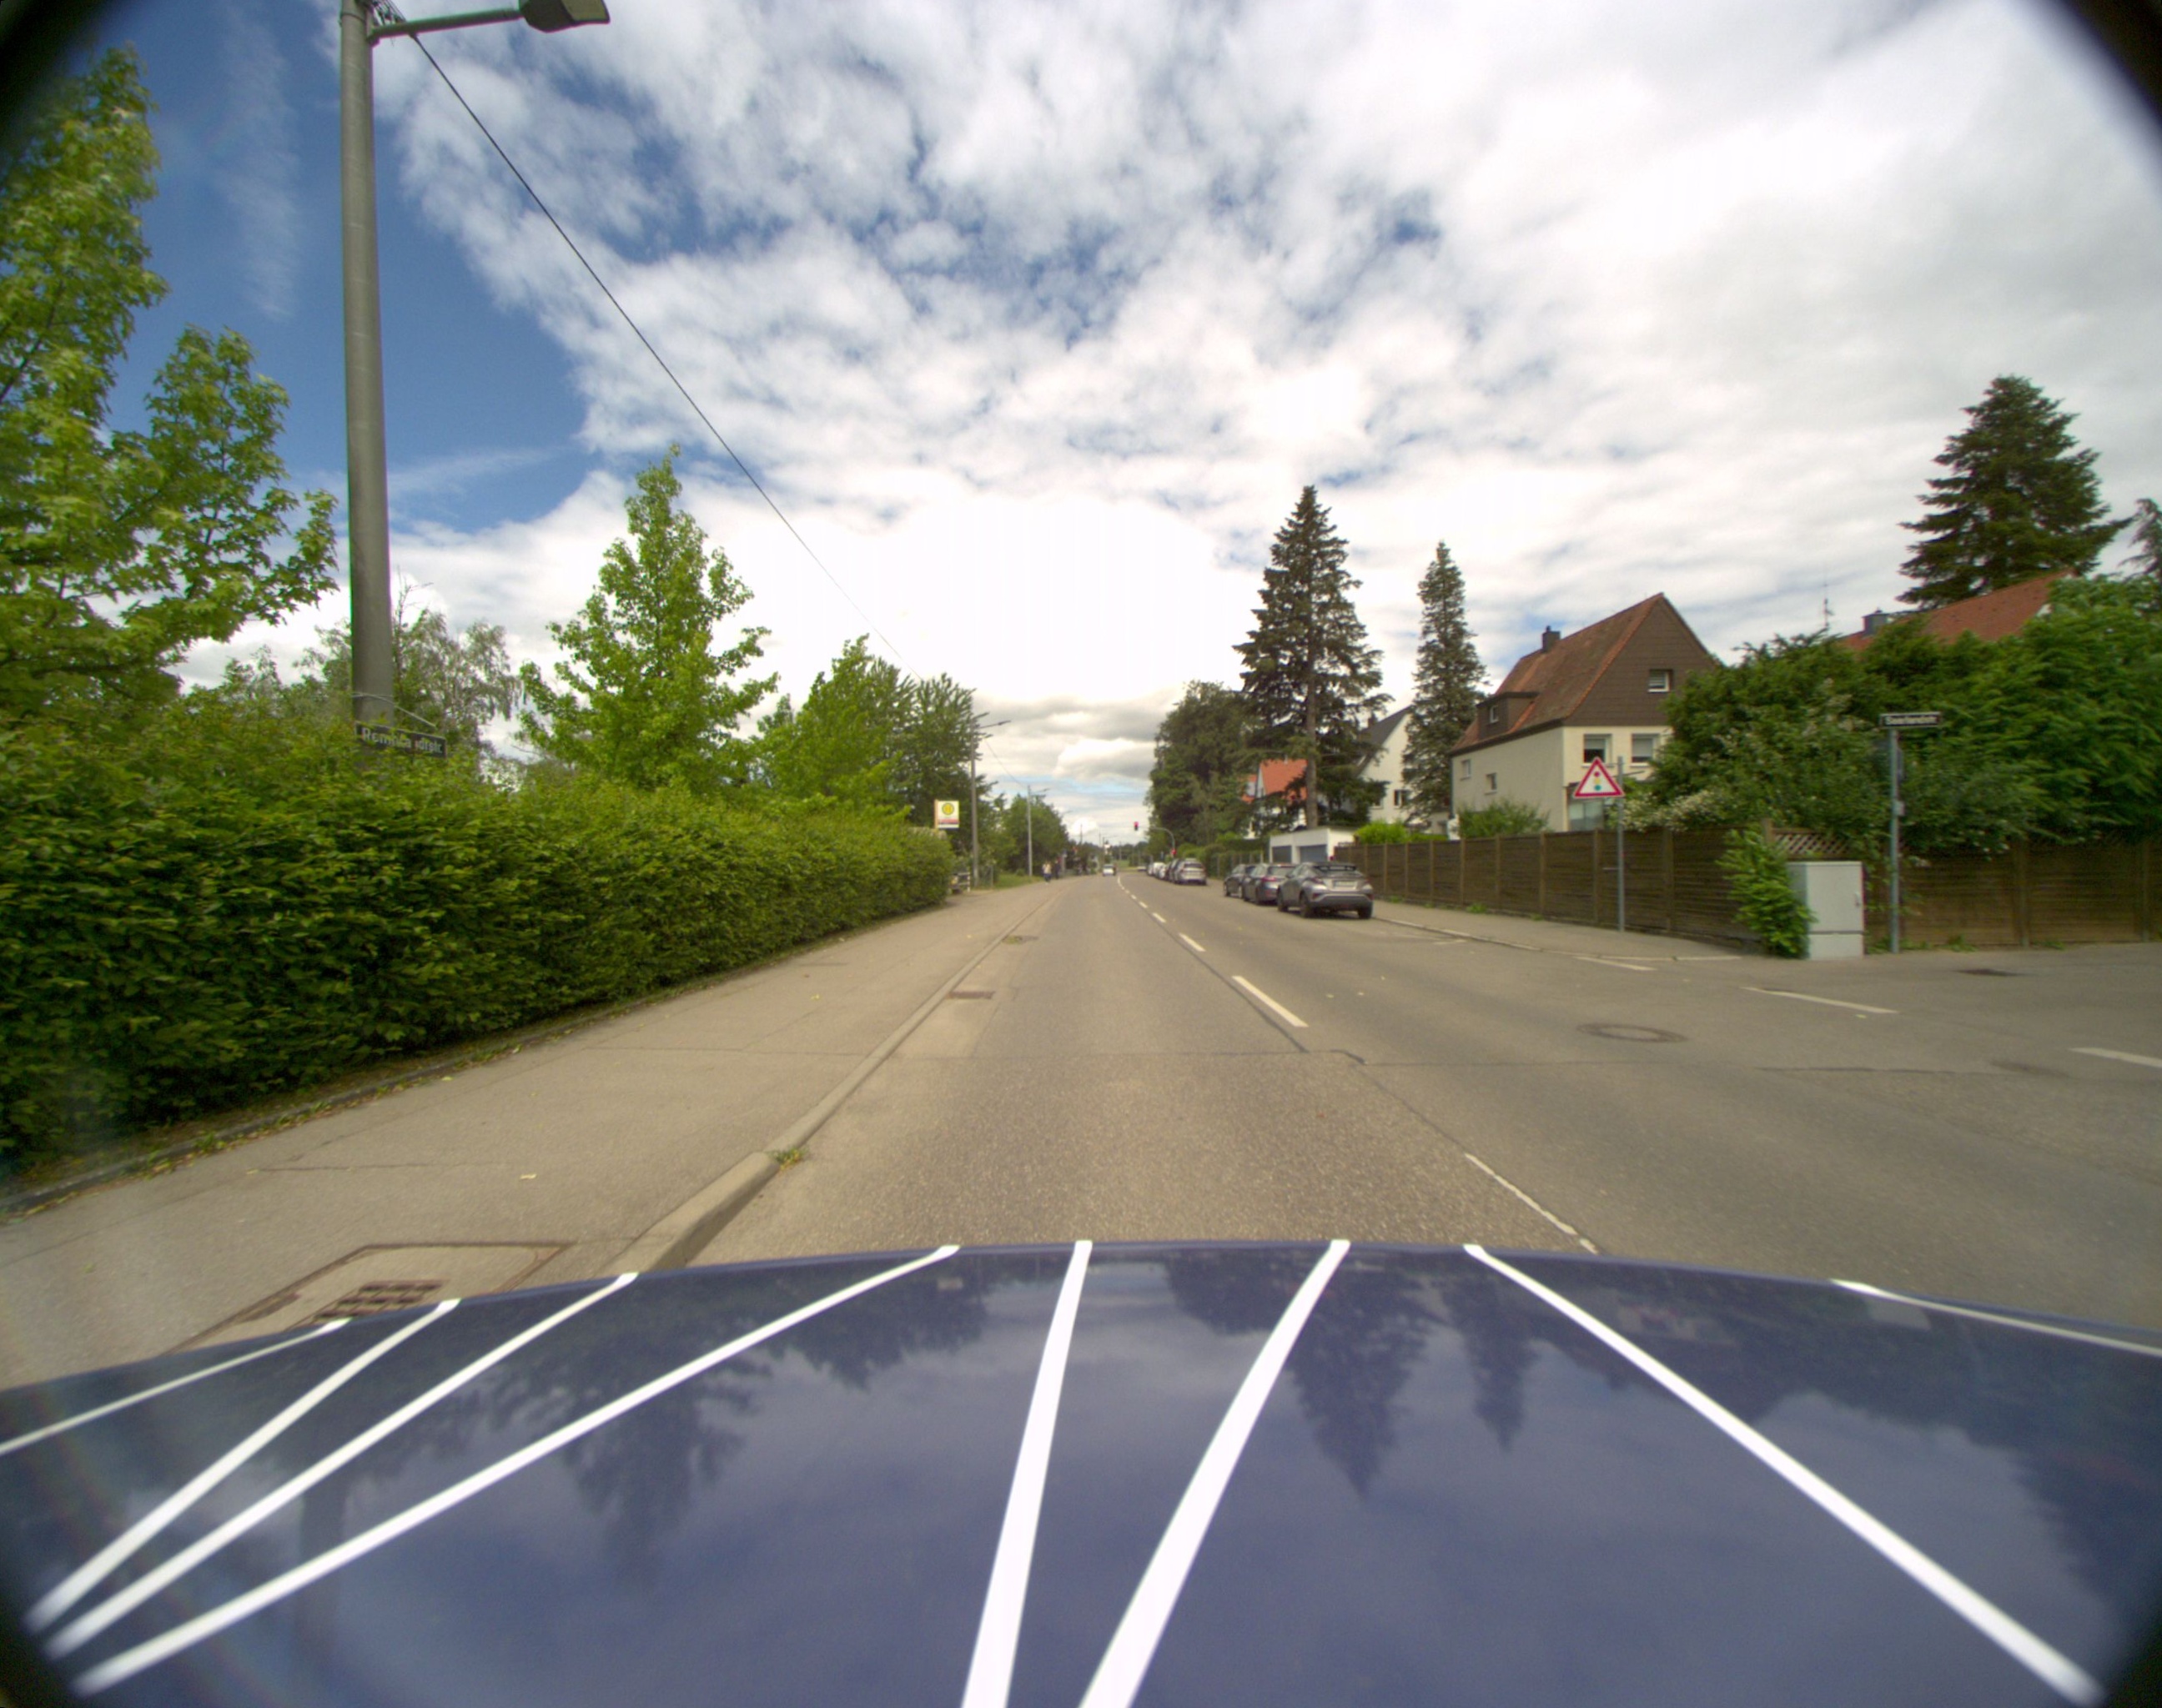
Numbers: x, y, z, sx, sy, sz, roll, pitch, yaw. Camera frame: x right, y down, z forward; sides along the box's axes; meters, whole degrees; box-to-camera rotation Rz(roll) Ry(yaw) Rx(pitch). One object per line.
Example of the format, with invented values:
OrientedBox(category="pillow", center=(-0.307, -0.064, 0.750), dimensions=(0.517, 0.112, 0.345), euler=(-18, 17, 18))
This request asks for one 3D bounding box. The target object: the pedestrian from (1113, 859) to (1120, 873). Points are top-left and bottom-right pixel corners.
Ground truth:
OrientedBox(category="pedestrian", center=(4.258, 1.464, 91.113), dimensions=(0.649, 1.654, 0.709), euler=(-2, 0, 8))

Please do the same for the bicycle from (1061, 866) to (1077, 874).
OrientedBox(category="bicycle", center=(-1.721, 2.273, 106.984), dimensions=(2.093, 1.041, 0.559), euler=(-3, 0, 6))

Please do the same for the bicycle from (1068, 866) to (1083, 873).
OrientedBox(category="bicycle", center=(-0.820, 2.291, 114.011), dimensions=(2.206, 1.041, 0.451), euler=(-1, 0, 2))

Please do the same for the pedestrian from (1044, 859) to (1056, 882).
OrientedBox(category="pedestrian", center=(-2.283, 1.176, 55.435), dimensions=(0.687, 1.649, 0.690), euler=(-2, 0, 7))

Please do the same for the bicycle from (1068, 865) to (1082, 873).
OrientedBox(category="bicycle", center=(-0.899, 2.287, 113.020), dimensions=(2.093, 1.144, 0.530), euler=(-2, 0, 1))

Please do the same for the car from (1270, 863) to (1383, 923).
OrientedBox(category="car", center=(6.833, 1.018, 21.683), dimensions=(1.998, 1.470, 4.648), euler=(1, 0, 4))

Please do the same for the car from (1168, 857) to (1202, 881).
OrientedBox(category="car", center=(8.030, 1.156, 59.031), dimensions=(2.072, 1.744, 4.884), euler=(-2, 0, 1))

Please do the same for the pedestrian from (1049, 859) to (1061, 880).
OrientedBox(category="pedestrian", center=(-2.106, 1.282, 61.414), dimensions=(0.841, 1.649, 0.766), euler=(-2, 0, 7))

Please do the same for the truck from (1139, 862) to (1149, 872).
OrientedBox(category="truck", center=(15.250, 3.088, 184.477), dimensions=(2.194, 2.357, 6.908), euler=(1, -1, 4))

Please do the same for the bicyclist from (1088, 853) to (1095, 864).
OrientedBox(category="bicyclist", center=(1.457, 0.619, 104.248), dimensions=(0.826, 1.529, 0.862), euler=(-2, 0, 2))

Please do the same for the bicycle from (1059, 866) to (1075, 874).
OrientedBox(category="bicycle", center=(-1.951, 2.193, 105.590), dimensions=(2.092, 1.074, 0.547), euler=(0, 0, 6))

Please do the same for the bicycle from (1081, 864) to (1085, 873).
OrientedBox(category="bicycle", center=(0.241, 1.992, 103.159), dimensions=(0.451, 1.142, 2.208), euler=(-1, 0, 3))

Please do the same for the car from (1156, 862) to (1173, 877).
OrientedBox(category="car", center=(9.101, 1.671, 82.852), dimensions=(1.706, 1.534, 3.744), euler=(1, -1, 5))

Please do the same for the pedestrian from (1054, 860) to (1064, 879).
OrientedBox(category="pedestrian", center=(-2.153, 1.493, 73.192), dimensions=(0.746, 1.871, 0.802), euler=(-2, 0, 9))

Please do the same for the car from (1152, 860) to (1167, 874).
OrientedBox(category="car", center=(10.125, 1.707, 98.064), dimensions=(1.680, 1.748, 4.609), euler=(1, -1, 3))

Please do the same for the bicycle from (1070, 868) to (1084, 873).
OrientedBox(category="bicycle", center=(-0.615, 2.570, 116.317), dimensions=(1.987, 0.635, 0.332), euler=(-2, 0, -7))

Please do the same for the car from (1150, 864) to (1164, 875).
OrientedBox(category="car", center=(10.308, 2.110, 103.205), dimensions=(1.708, 1.444, 4.360), euler=(2, -1, 7))

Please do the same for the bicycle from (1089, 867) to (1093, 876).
OrientedBox(category="bicycle", center=(1.386, 2.379, 104.764), dimensions=(0.451, 1.278, 2.208), euler=(-2, 0, 0))

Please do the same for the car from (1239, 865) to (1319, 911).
OrientedBox(category="car", center=(6.960, 1.140, 27.159), dimensions=(1.871, 1.450, 4.490), euler=(-1, 0, 3))

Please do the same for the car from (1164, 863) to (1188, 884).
OrientedBox(category="car", center=(8.063, 1.664, 65.065), dimensions=(1.630, 1.668, 4.585), euler=(1, -1, 2))

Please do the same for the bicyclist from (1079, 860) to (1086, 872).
OrientedBox(category="bicyclist", center=(0.221, 1.627, 103.519), dimensions=(0.826, 1.529, 0.862), euler=(-1, -2, 3))

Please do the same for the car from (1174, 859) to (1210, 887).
OrientedBox(category="car", center=(7.657, 1.298, 52.800), dimensions=(1.989, 1.808, 4.709), euler=(-1, -1, 2))

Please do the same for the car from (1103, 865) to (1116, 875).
OrientedBox(category="car", center=(3.961, 2.220, 104.532), dimensions=(1.665, 1.394, 3.901), euler=(-1, -1, 4))

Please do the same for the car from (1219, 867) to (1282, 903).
OrientedBox(category="car", center=(7.106, 1.261, 32.248), dimensions=(1.656, 1.418, 3.905), euler=(0, -1, -3))

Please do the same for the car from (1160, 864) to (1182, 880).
OrientedBox(category="car", center=(8.482, 1.667, 71.708), dimensions=(1.809, 1.450, 5.071), euler=(1, -1, 5))
